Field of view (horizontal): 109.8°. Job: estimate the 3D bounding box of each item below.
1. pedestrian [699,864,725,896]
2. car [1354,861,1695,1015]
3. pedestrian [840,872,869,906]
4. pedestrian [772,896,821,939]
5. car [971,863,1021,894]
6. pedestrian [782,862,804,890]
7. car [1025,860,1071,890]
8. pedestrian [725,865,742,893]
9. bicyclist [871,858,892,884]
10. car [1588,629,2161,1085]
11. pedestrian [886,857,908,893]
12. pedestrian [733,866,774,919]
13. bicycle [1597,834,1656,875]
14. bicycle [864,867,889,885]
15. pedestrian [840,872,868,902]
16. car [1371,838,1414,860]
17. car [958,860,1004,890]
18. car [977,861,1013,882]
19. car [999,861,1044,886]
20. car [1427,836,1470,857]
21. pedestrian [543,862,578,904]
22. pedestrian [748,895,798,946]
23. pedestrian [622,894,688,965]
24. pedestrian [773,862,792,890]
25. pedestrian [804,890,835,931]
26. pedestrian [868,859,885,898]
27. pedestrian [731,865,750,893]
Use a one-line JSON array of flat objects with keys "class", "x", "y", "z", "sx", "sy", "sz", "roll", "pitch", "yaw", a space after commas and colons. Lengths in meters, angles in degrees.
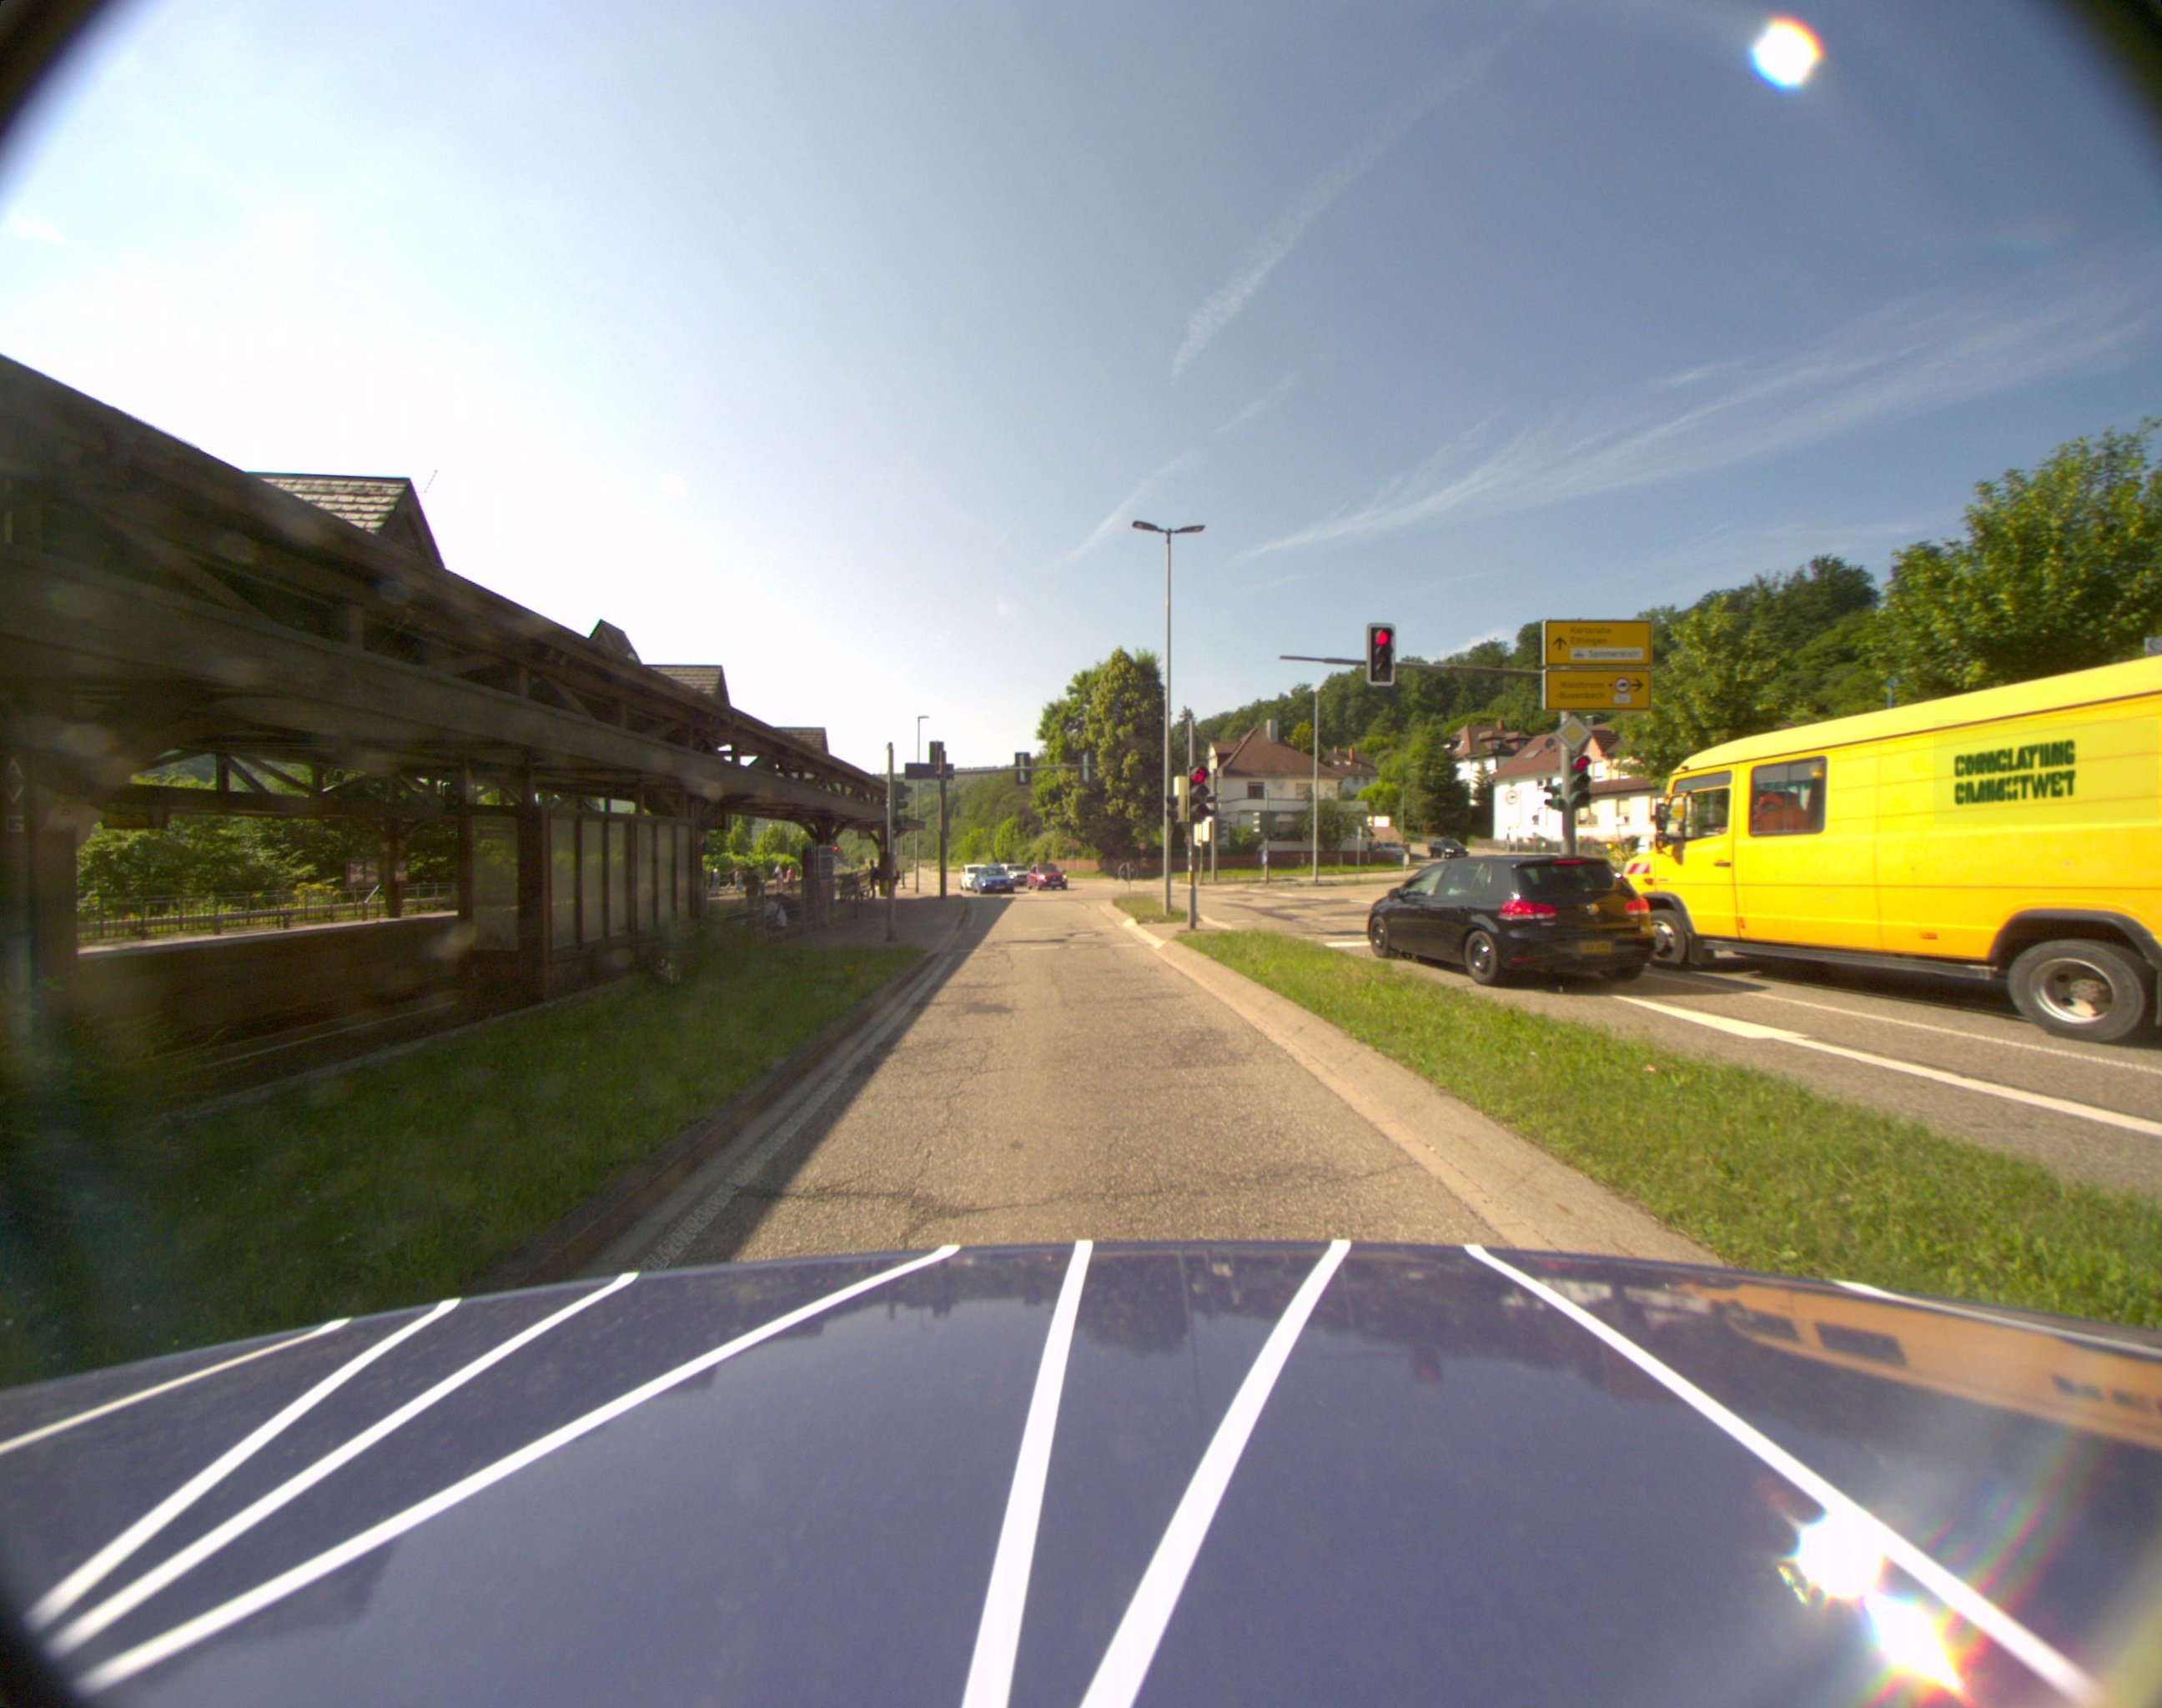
[{"class": "pedestrian", "x": -21.689, "y": 1.549, "z": 44.715, "sx": 0.990, "sy": 1.831, "sz": 1.074, "roll": -2, "pitch": -1, "yaw": 0}, {"class": "car", "x": 5.091, "y": 0.842, "z": 9.475, "sx": 1.750, "sy": 1.454, "sz": 4.042, "roll": -1, "pitch": 0, "yaw": -3}, {"class": "pedestrian", "x": -8.715, "y": 1.352, "z": 29.269, "sx": 0.994, "sy": 1.228, "sz": 0.596, "roll": -3, "pitch": -1, "yaw": -14}, {"class": "pedestrian", "x": -6.495, "y": 1.442, "z": 17.375, "sx": 0.847, "sy": 0.869, "sz": 0.807, "roll": -3, "pitch": -1, "yaw": -7}, {"class": "car", "x": -4.429, "y": 1.215, "z": 39.089, "sx": 1.867, "sy": 1.474, "sz": 4.296, "roll": -1, "pitch": 0, "yaw": -15}, {"class": "pedestrian", "x": -17.511, "y": 1.335, "z": 46.236, "sx": 0.901, "sy": 1.674, "sz": 0.824, "roll": -4, "pitch": -1, "yaw": 38}, {"class": "car", "x": -1.898, "y": 1.148, "z": 42.178, "sx": 1.663, "sy": 1.525, "sz": 3.950, "roll": -1, "pitch": -1, "yaw": -16}, {"class": "pedestrian", "x": -21.231, "y": 1.500, "z": 46.386, "sx": 0.558, "sy": 1.674, "sz": 0.685, "roll": -3, "pitch": -1, "yaw": 21}, {"class": "bicyclist", "x": -12.302, "y": 1.060, "z": 46.831, "sx": 0.788, "sy": 1.559, "sz": 0.944, "roll": -3, "pitch": 1, "yaw": -42}, {"class": "car", "x": 8.214, "y": -0.020, "z": 6.967, "sx": 2.474, "sy": 2.993, "sz": 6.464, "roll": -3, "pitch": 0, "yaw": -3}, {"class": "pedestrian", "x": -9.132, "y": 1.047, "z": 37.792, "sx": 0.917, "sy": 1.726, "sz": 1.250, "roll": -3, "pitch": -1, "yaw": -12}, {"class": "pedestrian", "x": -9.802, "y": 1.147, "z": 22.771, "sx": 0.863, "sy": 1.538, "sz": 0.922, "roll": -1, "pitch": -1, "yaw": -5}, {"class": "bicycle", "x": 18.285, "y": 0.026, "z": 25.518, "sx": 0.620, "sy": 1.247, "sz": 1.758, "roll": -6, "pitch": -3, "yaw": 2}, {"class": "bicycle", "x": -12.623, "y": 1.358, "z": 46.921, "sx": 0.605, "sy": 1.049, "sz": 1.809, "roll": -3, "pitch": 0, "yaw": -45}, {"class": "pedestrian", "x": -9.095, "y": 1.303, "z": 30.449, "sx": 1.010, "sy": 1.153, "sz": 0.948, "roll": -2, "pitch": 0, "yaw": -13}, {"class": "car", "x": 25.814, "y": -0.391, "z": 63.144, "sx": 1.939, "sy": 1.627, "sz": 4.001, "roll": -3, "pitch": -1, "yaw": 2}, {"class": "car", "x": -6.050, "y": 1.235, "z": 45.546, "sx": 2.001, "sy": 1.575, "sz": 3.994, "roll": -3, "pitch": 0, "yaw": -17}, {"class": "car", "x": -6.684, "y": 1.351, "z": 58.695, "sx": 1.982, "sy": 1.495, "sz": 3.982, "roll": -2, "pitch": -1, "yaw": -17}, {"class": "car", "x": -4.008, "y": 1.289, "z": 50.318, "sx": 1.982, "sy": 1.495, "sz": 4.745, "roll": -2, "pitch": -1, "yaw": -17}, {"class": "car", "x": 29.511, "y": -0.658, "z": 61.109, "sx": 1.977, "sy": 1.476, "sz": 4.754, "roll": -3, "pitch": 1, "yaw": 12}, {"class": "pedestrian", "x": -21.461, "y": 1.195, "z": 31.346, "sx": 0.736, "sy": 1.674, "sz": 0.904, "roll": -3, "pitch": -1, "yaw": 0}, {"class": "pedestrian", "x": -6.438, "y": 1.382, "z": 15.900, "sx": 0.744, "sy": 0.976, "sz": 0.769, "roll": -3, "pitch": -1, "yaw": -7}, {"class": "pedestrian", "x": -7.268, "y": 1.277, "z": 12.997, "sx": 0.744, "sy": 1.109, "sz": 0.667, "roll": -3, "pitch": -1, "yaw": -7}, {"class": "pedestrian", "x": -18.363, "y": 1.331, "z": 46.759, "sx": 0.868, "sy": 1.674, "sz": 0.822, "roll": -3, "pitch": -1, "yaw": -7}, {"class": "pedestrian", "x": -6.480, "y": 1.404, "z": 18.861, "sx": 0.619, "sy": 0.960, "sz": 0.406, "roll": -3, "pitch": -1, "yaw": -7}, {"class": "pedestrian", "x": -8.900, "y": 1.055, "z": 33.141, "sx": 0.659, "sy": 1.682, "sz": 0.738, "roll": -1, "pitch": 0, "yaw": -13}, {"class": "pedestrian", "x": -20.474, "y": 1.505, "z": 45.710, "sx": 0.905, "sy": 1.674, "sz": 0.821, "roll": -3, "pitch": -1, "yaw": -23}]
